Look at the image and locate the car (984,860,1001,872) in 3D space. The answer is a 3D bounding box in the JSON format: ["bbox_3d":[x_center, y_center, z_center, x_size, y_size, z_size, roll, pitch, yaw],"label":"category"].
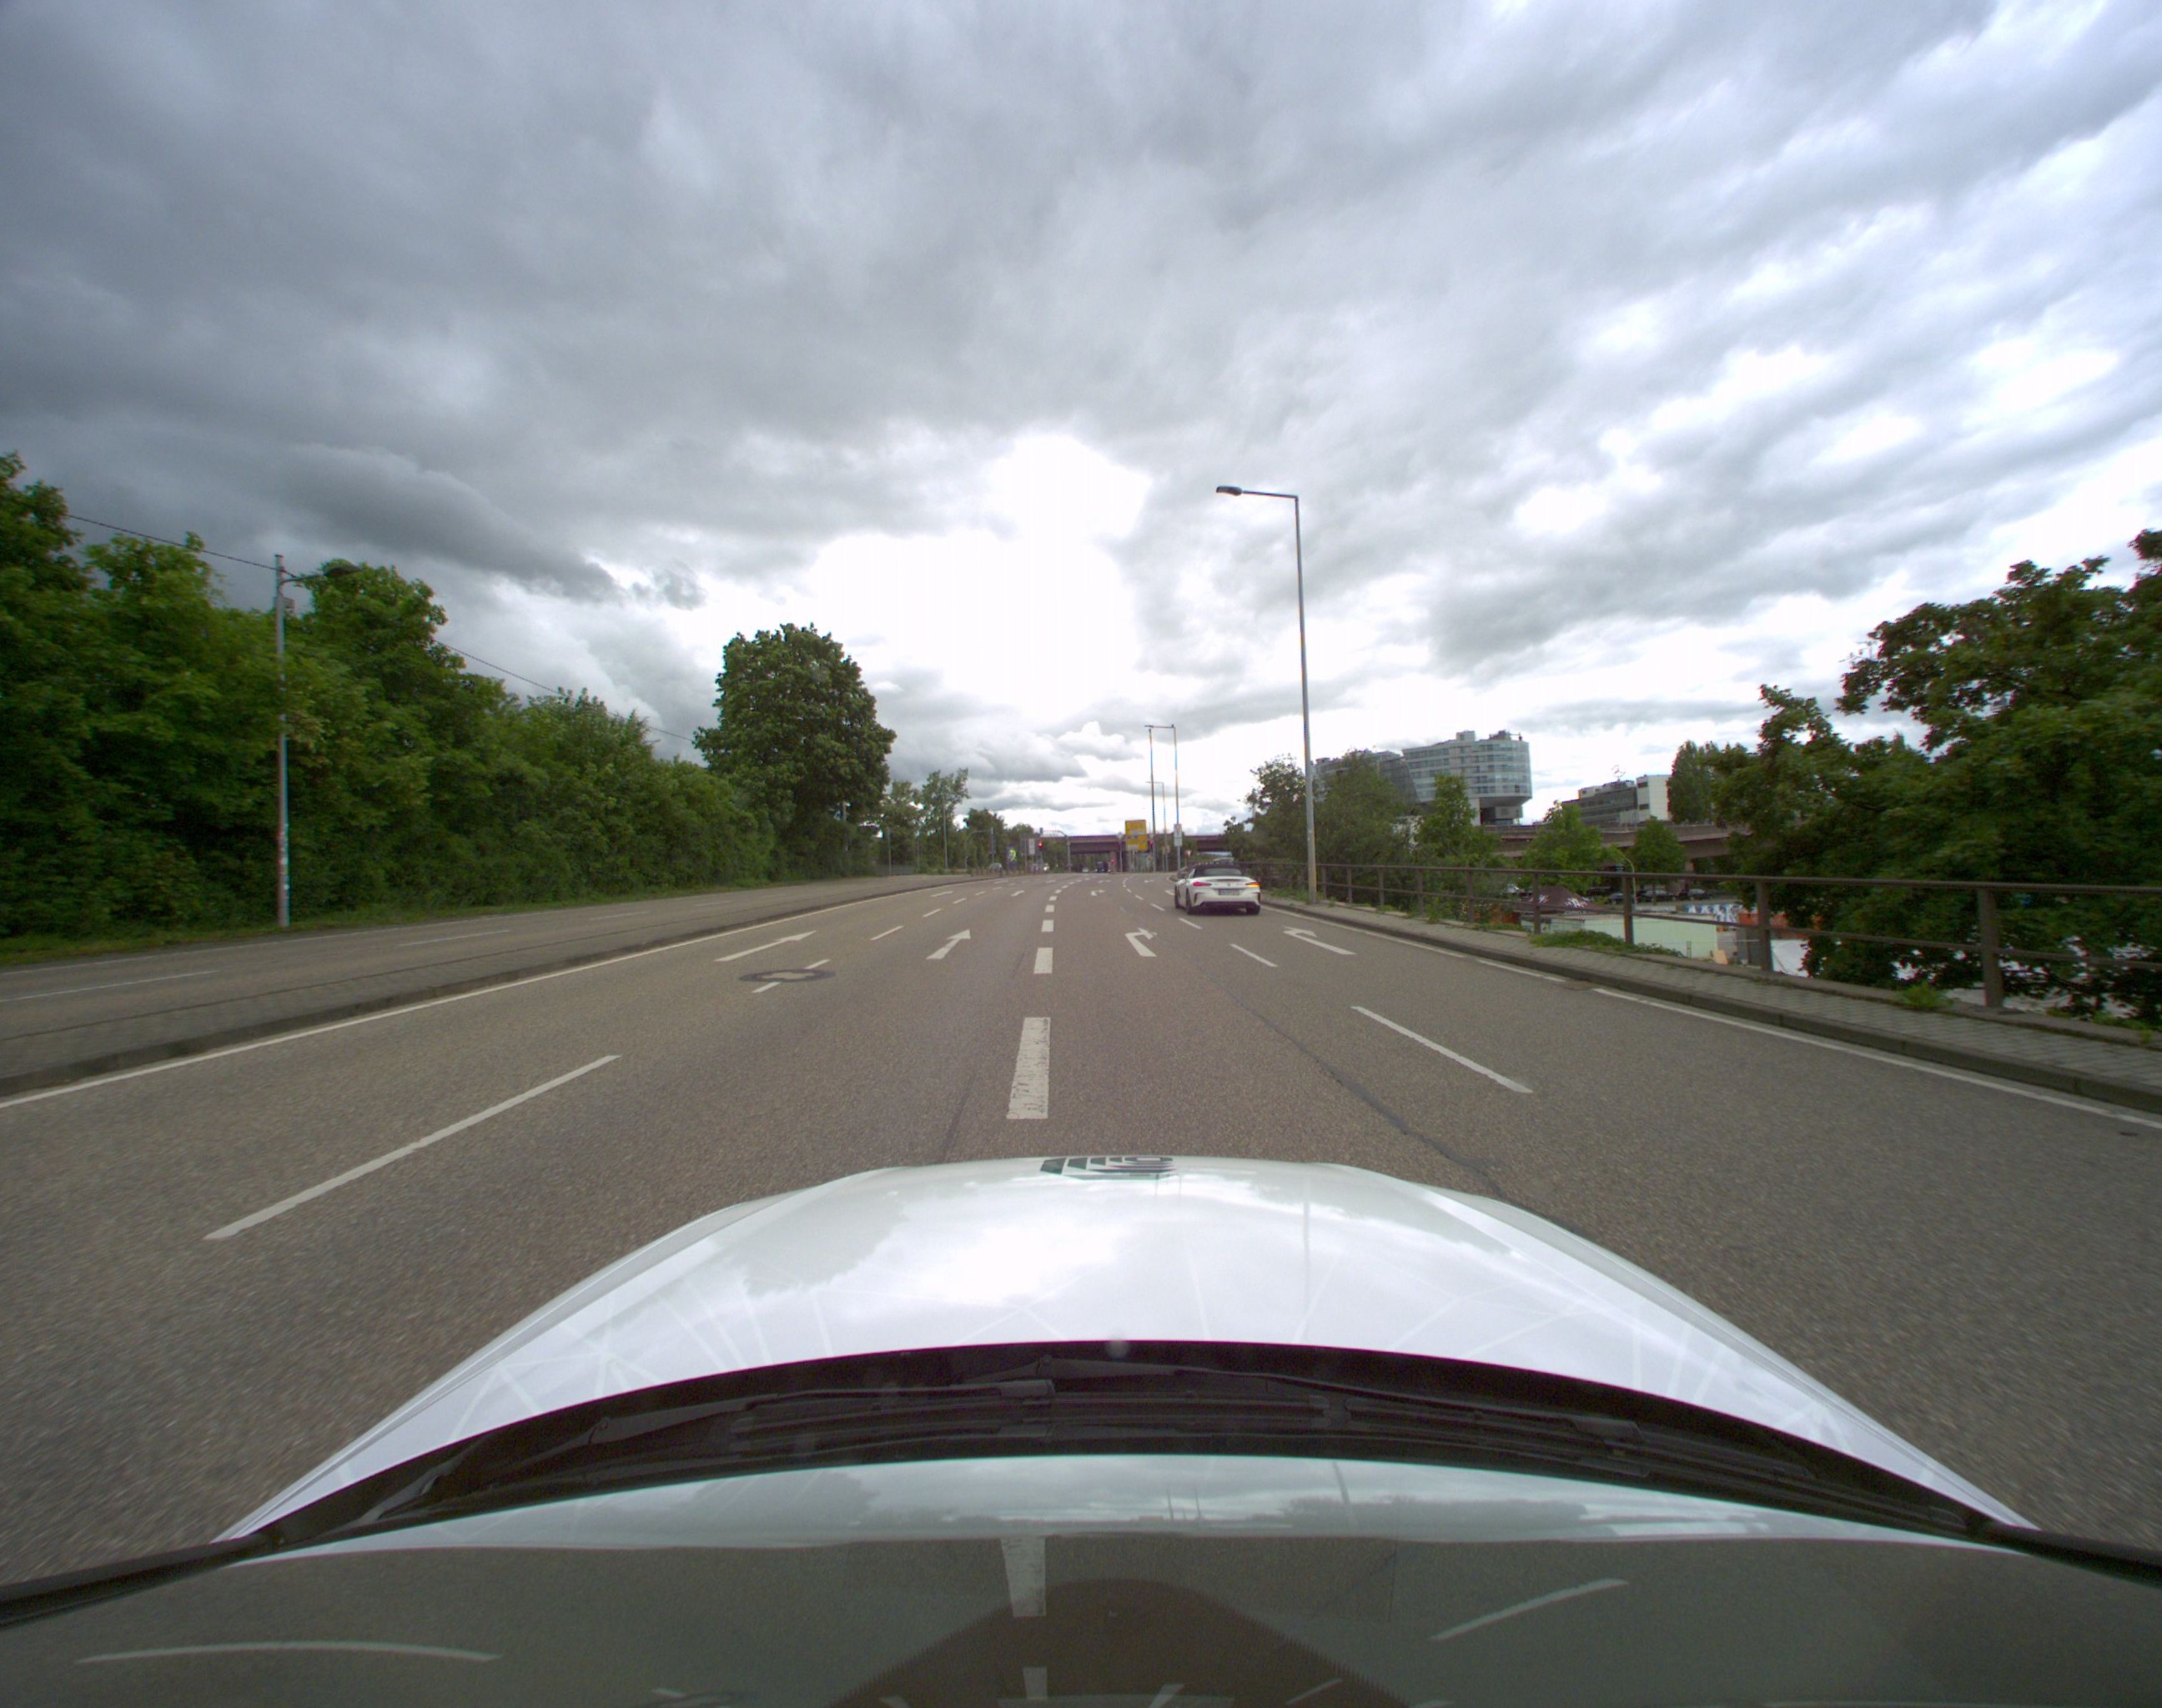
[{"bbox_3d":[-11.656,1.563,107.365,1.754,1.485,3.485,1,-1,2],"label":"car"}]

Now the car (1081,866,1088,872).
[{"bbox_3d":[0.976,4.064,225.632,1.733,1.537,3.675,-1,0,4],"label":"car"}]

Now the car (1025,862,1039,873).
[{"bbox_3d":[-7.343,2.071,123.365,1.765,1.645,3.825,0,-1,1],"label":"car"}]

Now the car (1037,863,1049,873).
[{"bbox_3d":[-6.191,2.315,132.502,1.765,1.633,3.825,0,-1,1],"label":"car"}]

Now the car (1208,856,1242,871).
[{"bbox_3d":[19.409,1.287,109.776,4.350,1.758,2.002,-2,-3,5],"label":"car"}]

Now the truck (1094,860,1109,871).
[{"bbox_3d":[6.218,3.359,243.949,2.906,3.146,10.137,0,-1,9],"label":"truck"}]

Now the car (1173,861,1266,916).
[{"bbox_3d":[3.647,0.871,22.045,1.869,1.309,3.873,-1,0,0],"label":"car"}]
